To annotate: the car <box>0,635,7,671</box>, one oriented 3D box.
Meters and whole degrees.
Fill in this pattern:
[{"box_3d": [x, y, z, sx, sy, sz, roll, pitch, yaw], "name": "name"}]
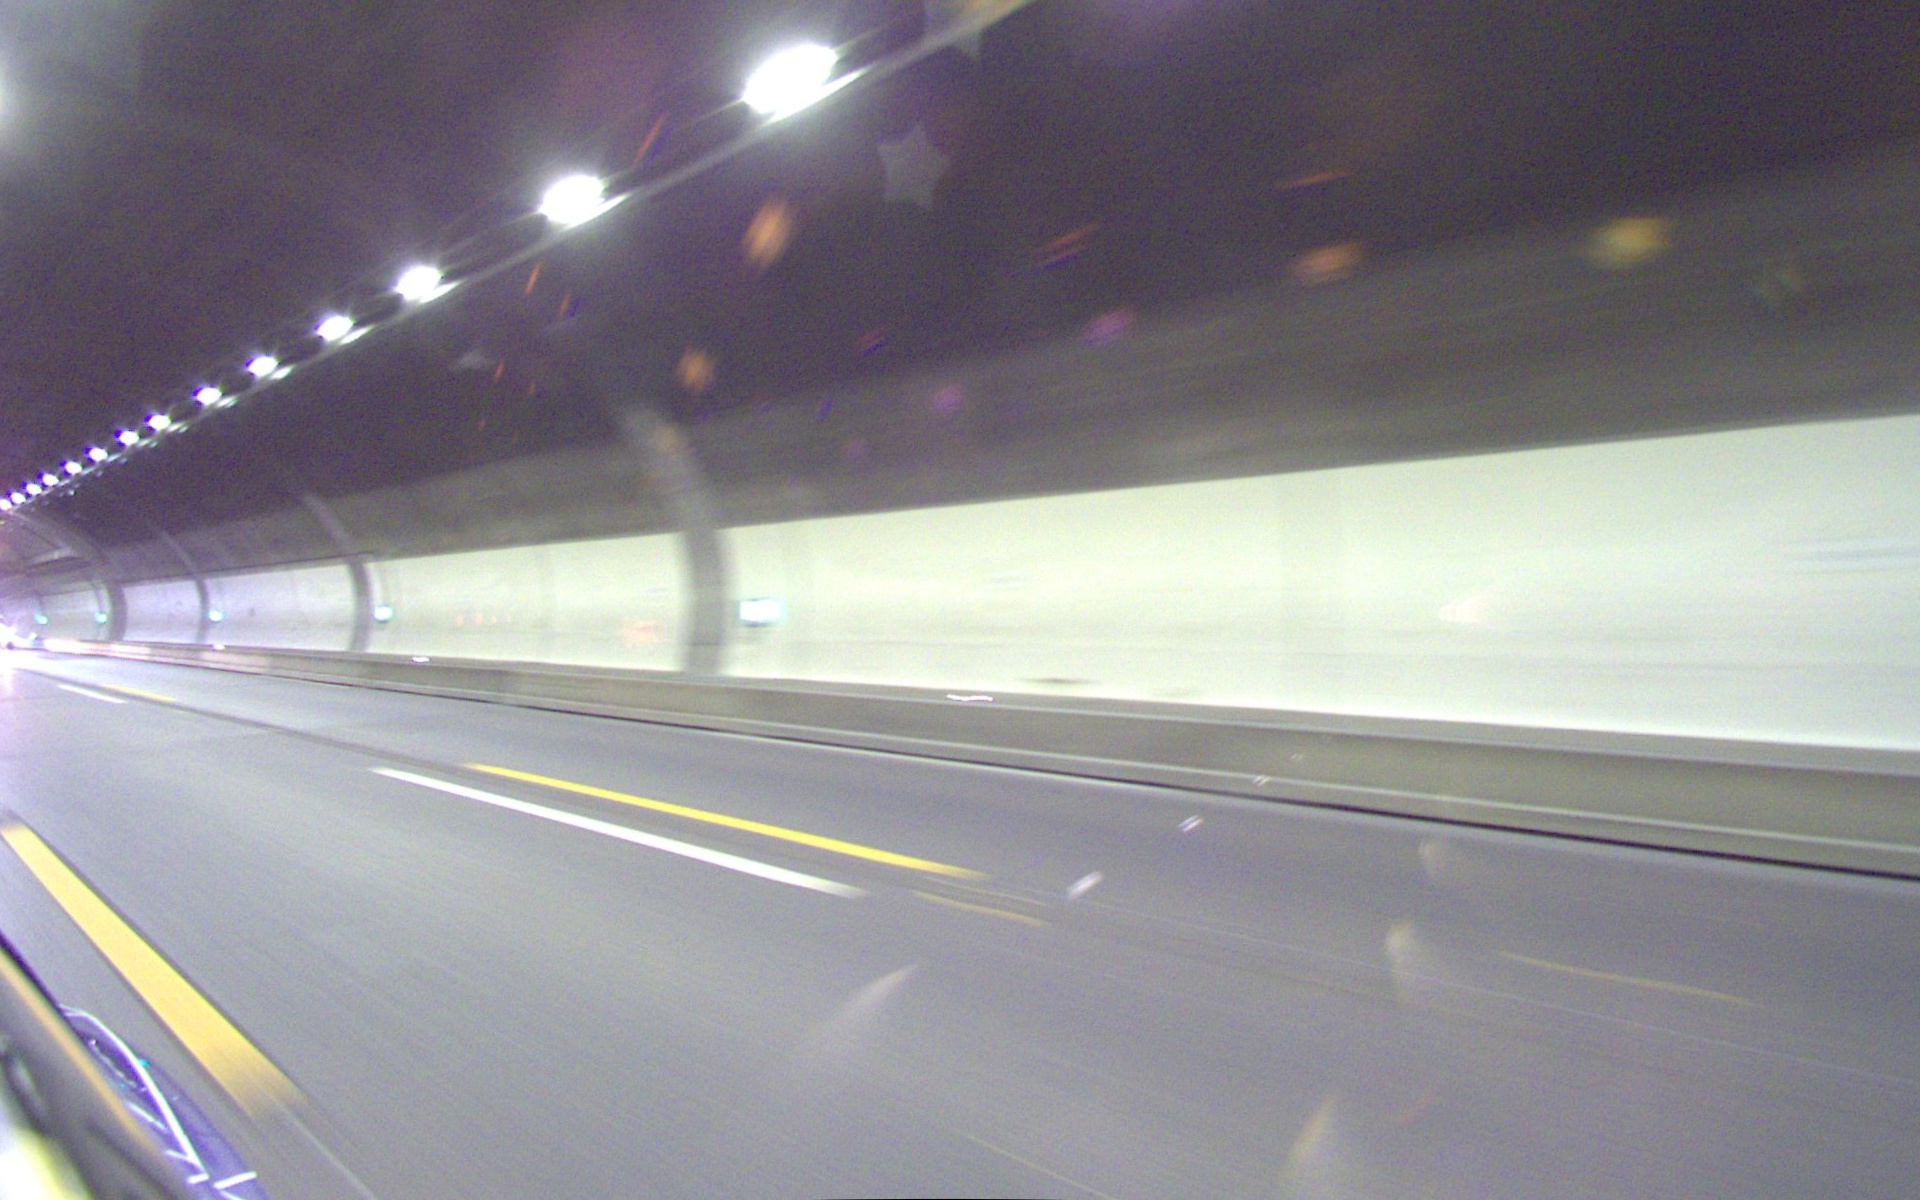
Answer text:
[{"box_3d": [-43.803, 2.317, 44.715, 4.848, 1.552, 1.973, -2, -4, 41], "name": "car"}]
